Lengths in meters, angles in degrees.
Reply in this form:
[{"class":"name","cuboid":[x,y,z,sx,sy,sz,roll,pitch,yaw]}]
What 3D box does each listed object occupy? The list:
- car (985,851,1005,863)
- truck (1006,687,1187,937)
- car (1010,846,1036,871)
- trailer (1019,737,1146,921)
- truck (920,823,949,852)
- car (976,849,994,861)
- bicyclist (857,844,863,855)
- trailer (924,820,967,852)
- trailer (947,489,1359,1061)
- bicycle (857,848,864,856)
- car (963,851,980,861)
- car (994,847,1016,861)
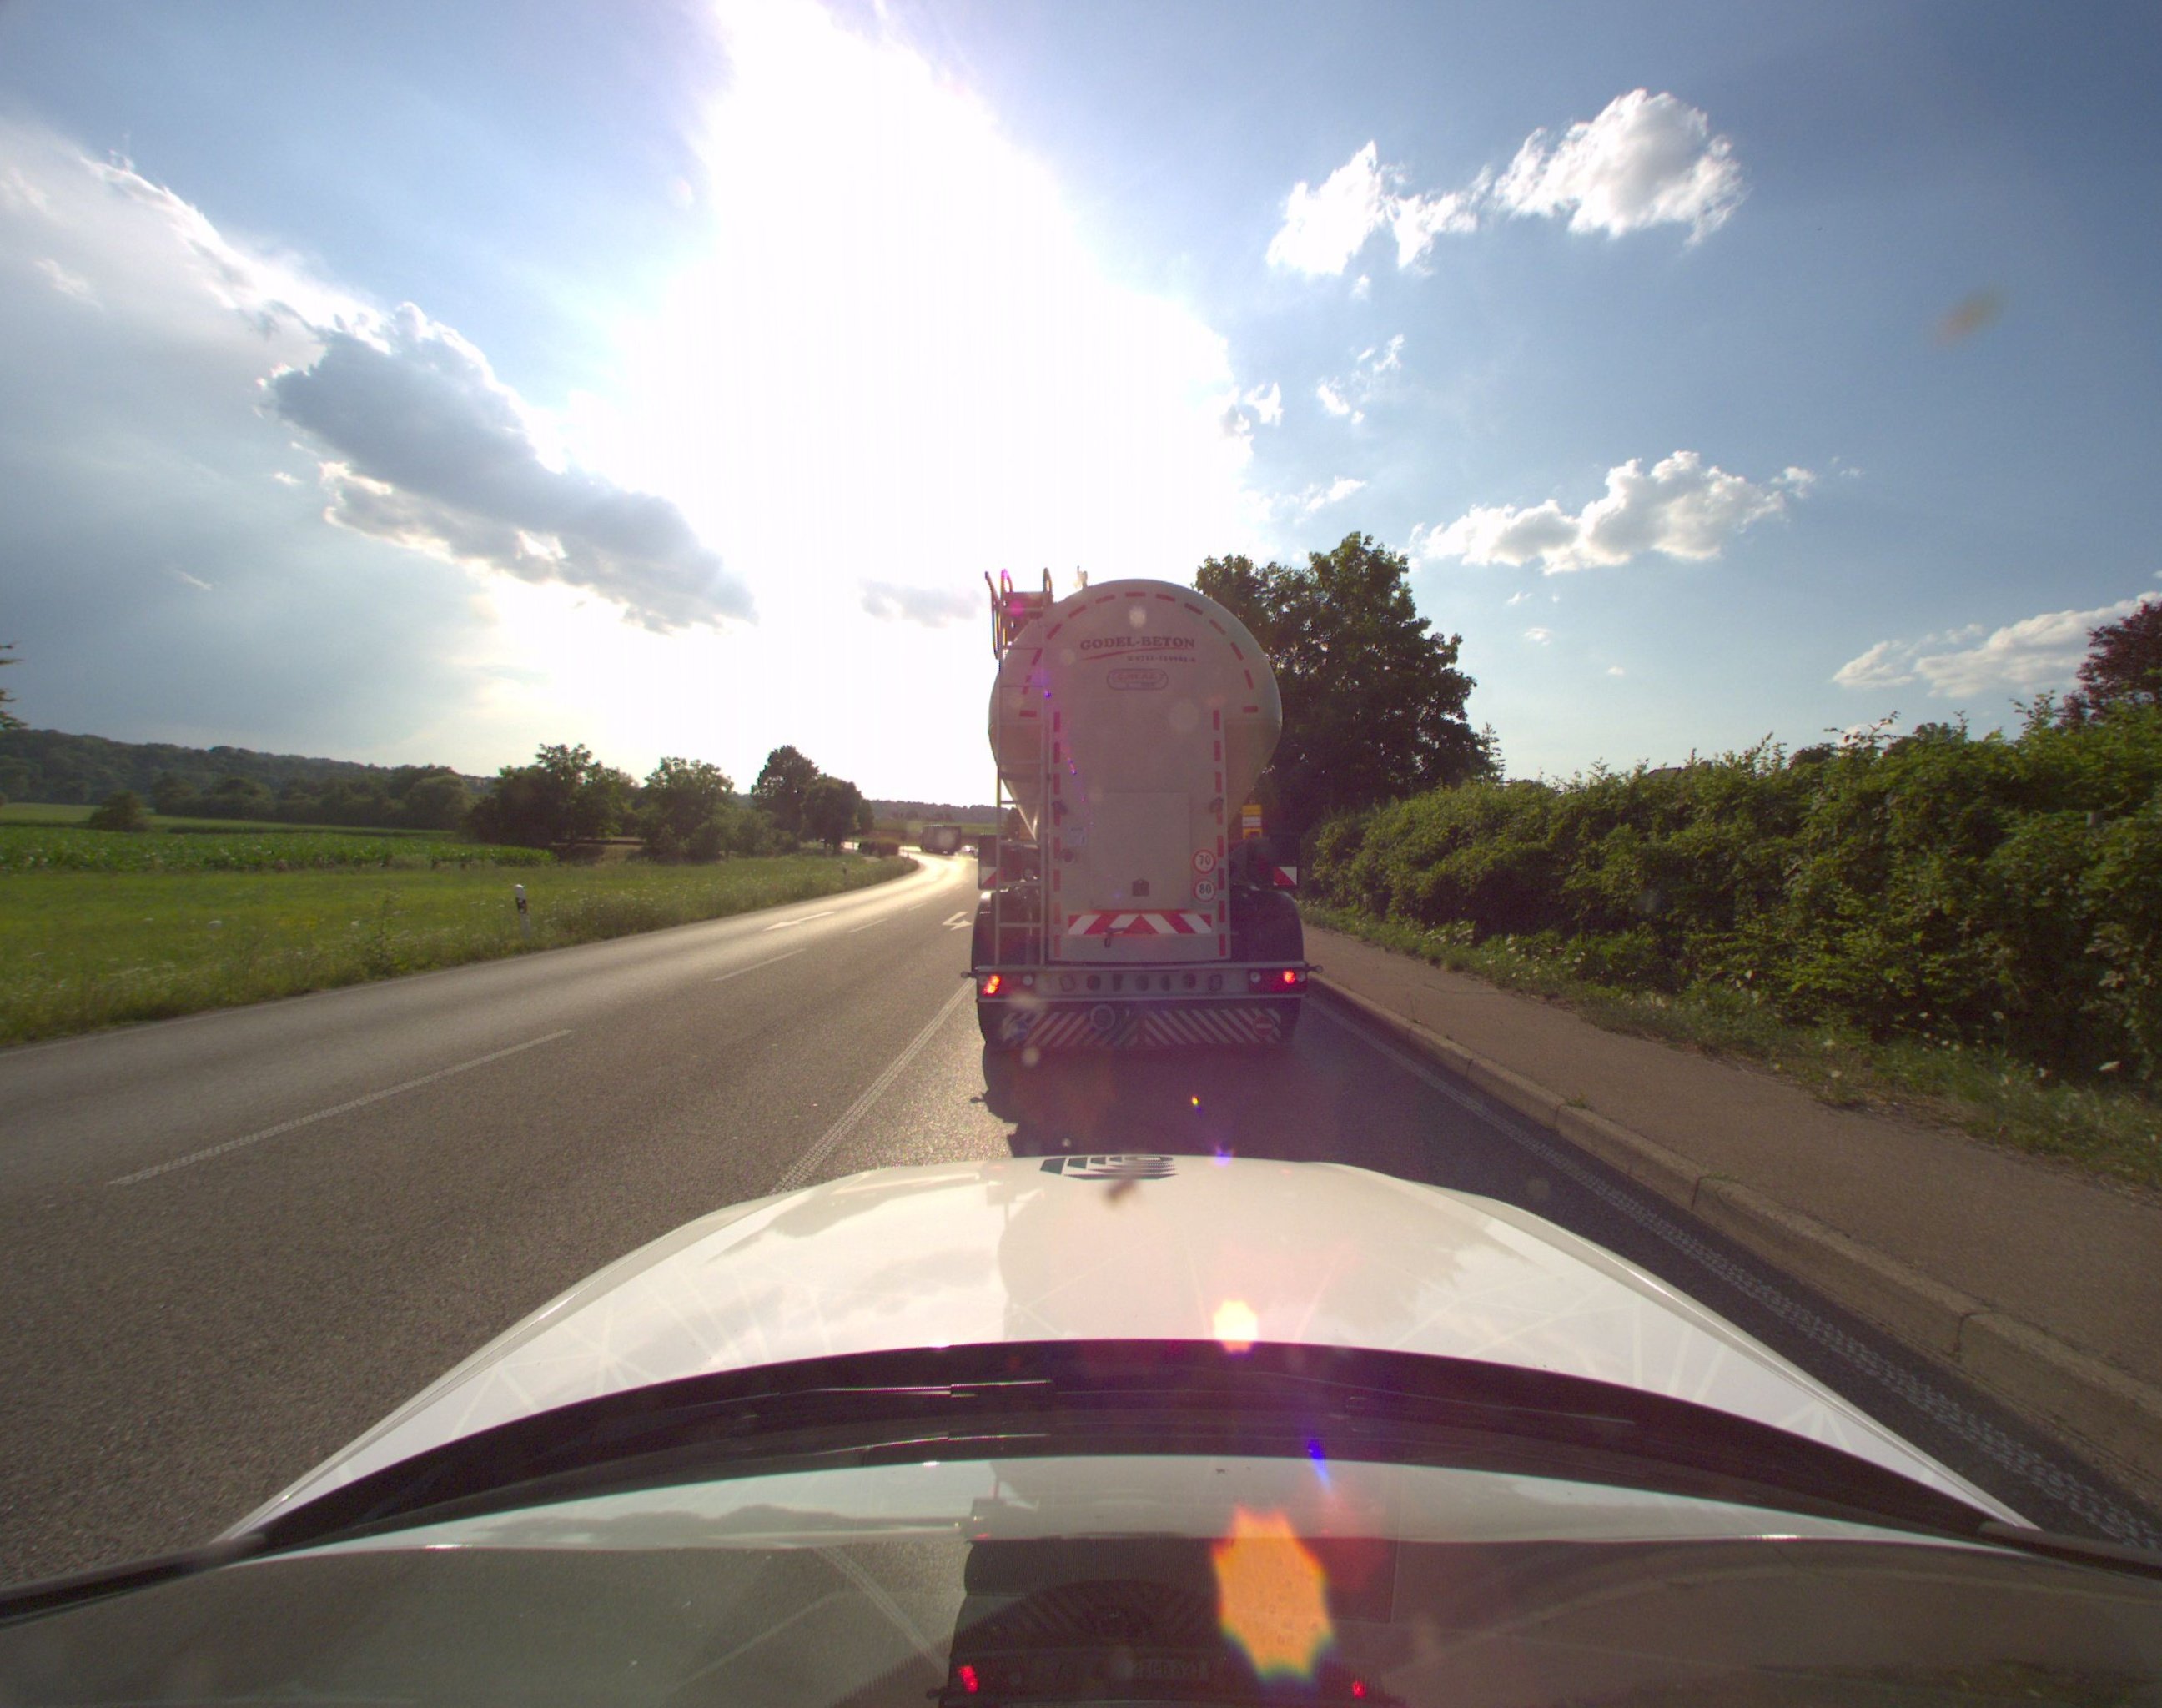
[{"class":"car","cuboid":[-9.278,0.308,88.058,1.583,1.341,3.407,1,0,-16]},{"class":"truck","cuboid":[0.168,-0.682,15.171,2.903,4.006,4.055,0,0,-3]},{"class":"car","cuboid":[-4.860,0.367,67.437,1.861,2.013,3.708,0,0,-9]},{"class":"trailer","cuboid":[0.286,-0.624,26.336,2.943,4.315,14.182,1,0,2]},{"class":"truck","cuboid":[-23.082,-2.591,127.924,3.388,4.350,5.665,1,0,-21]},{"class":"car","cuboid":[-11.371,0.105,96.306,1.583,1.341,3.407,1,0,-16]},{"class":"bicyclist","cuboid":[-29.053,-0.630,107.199,0.634,1.419,0.689,2,0,-7]},{"class":"trailer","cuboid":[-20.160,-2.563,120.314,3.388,4.350,14.192,1,0,-21]},{"class":"trailer","cuboid":[0.345,-0.567,10.729,2.902,4.006,9.921,0,0,-2]},{"class":"bicycle","cuboid":[-29.076,-0.261,107.289,0.634,1.074,1.667,2,0,-6]},{"class":"car","cuboid":[-13.817,0.285,102.606,1.773,1.205,3.407,0,0,-16]},{"class":"car","cuboid":[-7.675,-0.018,81.842,1.583,1.341,3.407,1,0,-16]}]
